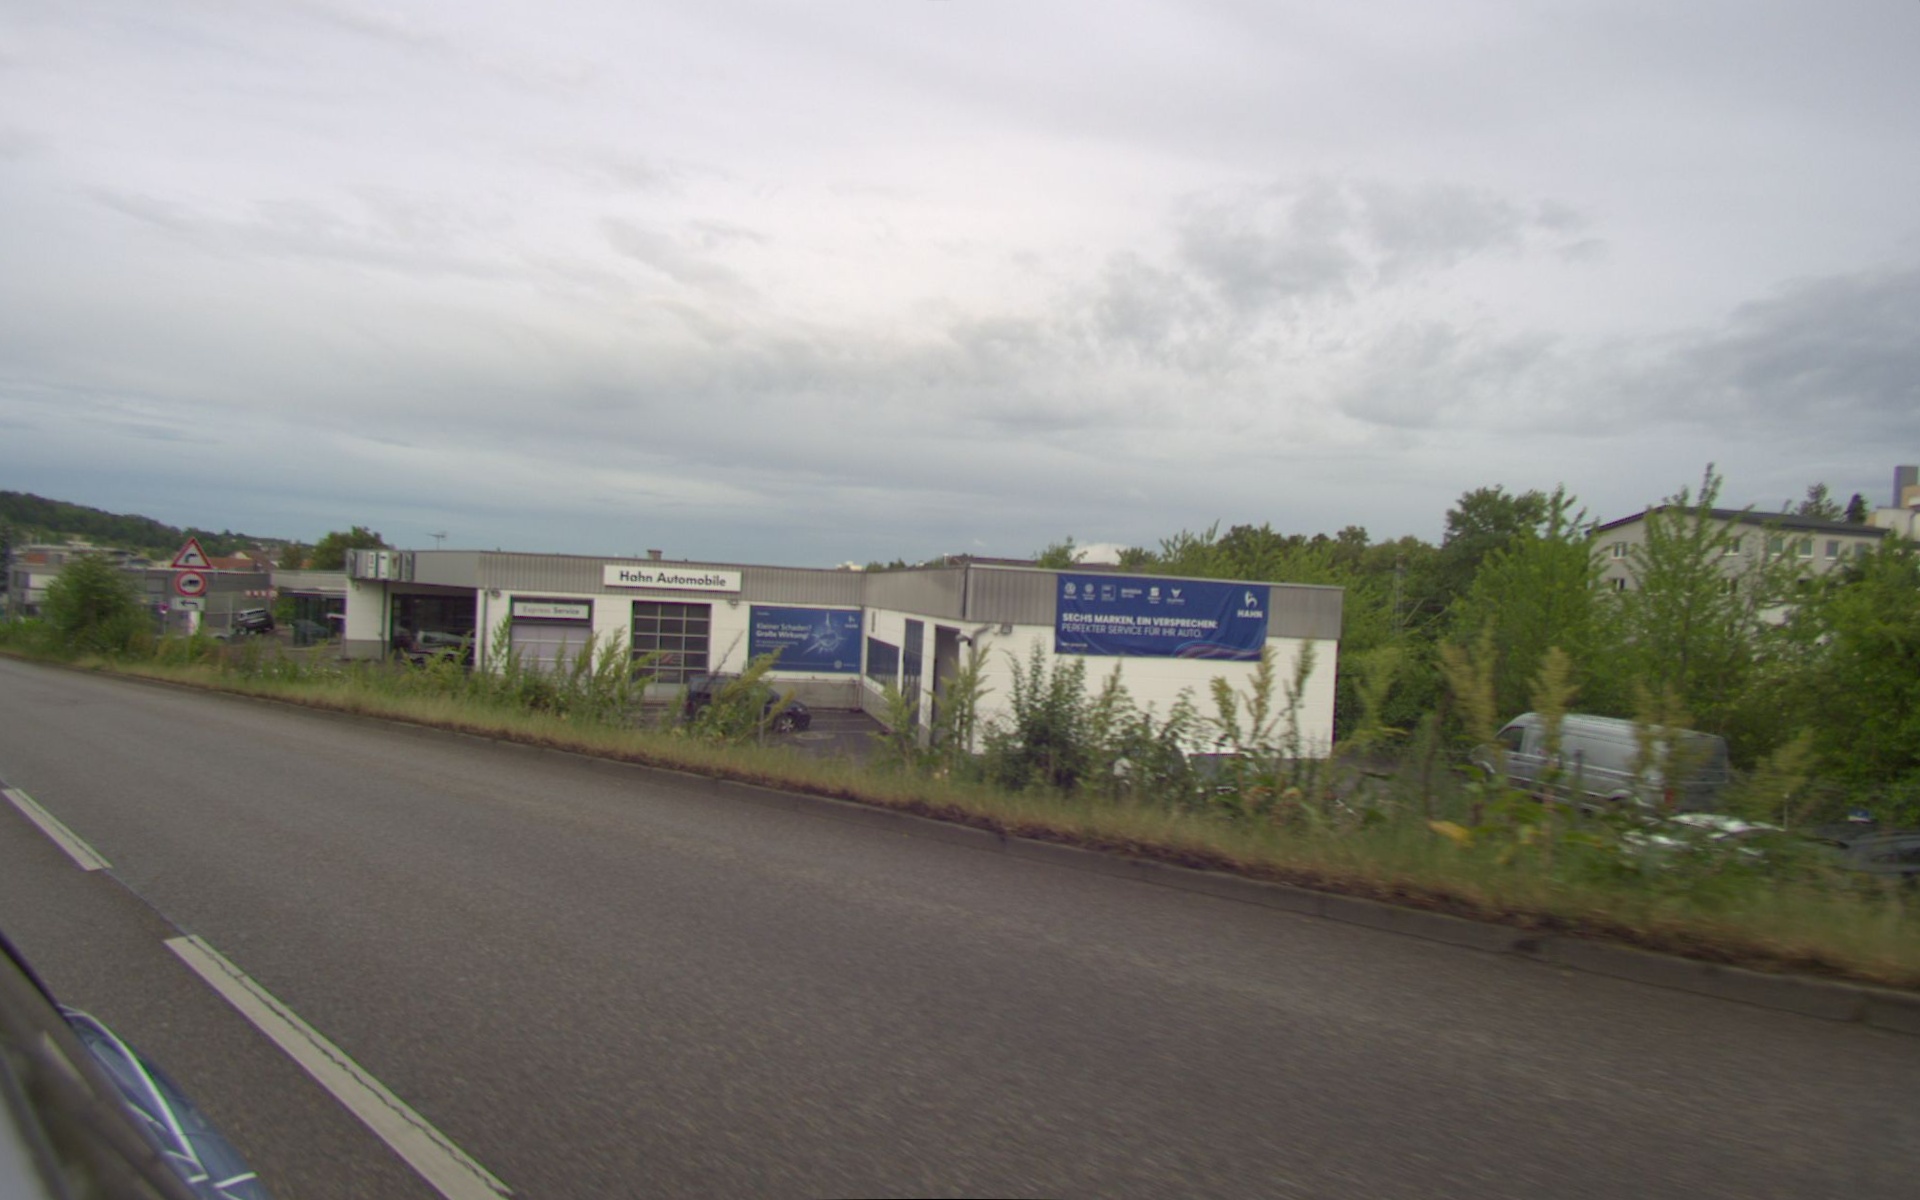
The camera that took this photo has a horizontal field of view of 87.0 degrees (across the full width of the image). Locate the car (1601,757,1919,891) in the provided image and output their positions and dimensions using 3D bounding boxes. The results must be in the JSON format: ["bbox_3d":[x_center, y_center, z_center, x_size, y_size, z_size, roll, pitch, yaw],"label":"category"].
[{"bbox_3d":[14.319,3.885,18.140,1.836,1.705,4.655,5,-6,-18],"label":"car"}]

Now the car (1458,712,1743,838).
[{"bbox_3d":[16.495,4.433,26.668,1.951,2.480,6.615,5,-4,-17],"label":"car"}]

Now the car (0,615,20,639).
[{"bbox_3d":[-78.608,2.119,80.670,1.816,1.885,5.029,0,-2,31],"label":"car"}]

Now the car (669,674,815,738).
[{"bbox_3d":[-7.355,3.585,34.277,4.565,1.817,1.872,5,-6,-12],"label":"car"}]

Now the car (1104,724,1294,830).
[{"bbox_3d":[5.092,3.789,22.280,1.836,1.817,4.655,5,-6,-18],"label":"car"}]

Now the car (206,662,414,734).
[{"bbox_3d":[-18.764,2.900,29.430,1.864,1.817,4.583,-1,-7,37],"label":"car"}]

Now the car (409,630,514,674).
[{"bbox_3d":[-25.441,2.657,51.791,4.410,1.975,1.994,3,-2,-14],"label":"car"}]

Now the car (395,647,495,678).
[{"bbox_3d":[-24.677,3.006,48.625,3.954,1.427,1.959,1,-2,-16],"label":"car"}]
